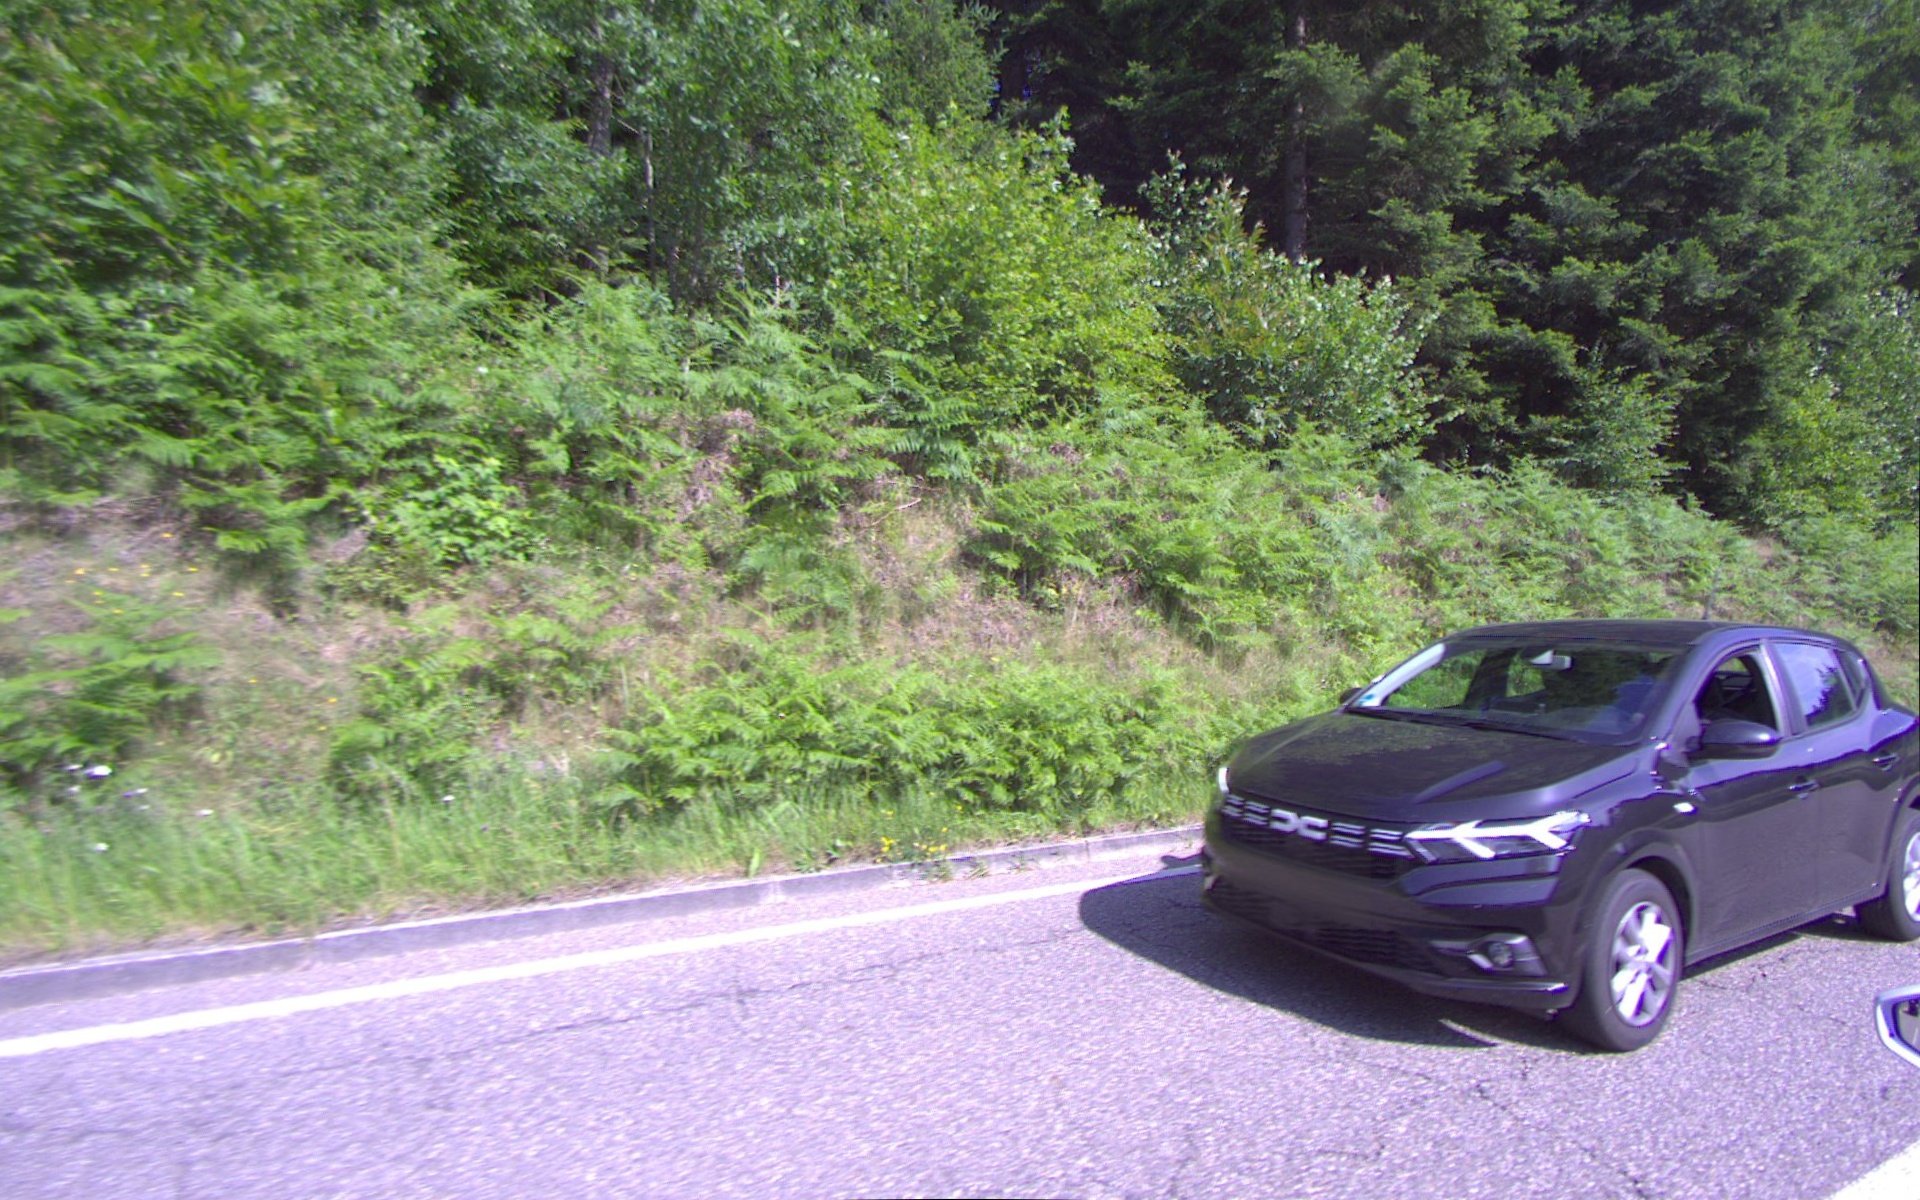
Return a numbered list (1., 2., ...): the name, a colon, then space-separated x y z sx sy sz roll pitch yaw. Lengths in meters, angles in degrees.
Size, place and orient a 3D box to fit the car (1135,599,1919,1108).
1. car: 2.973 0.839 4.885 3.953 1.549 1.849 2 -2 -30
